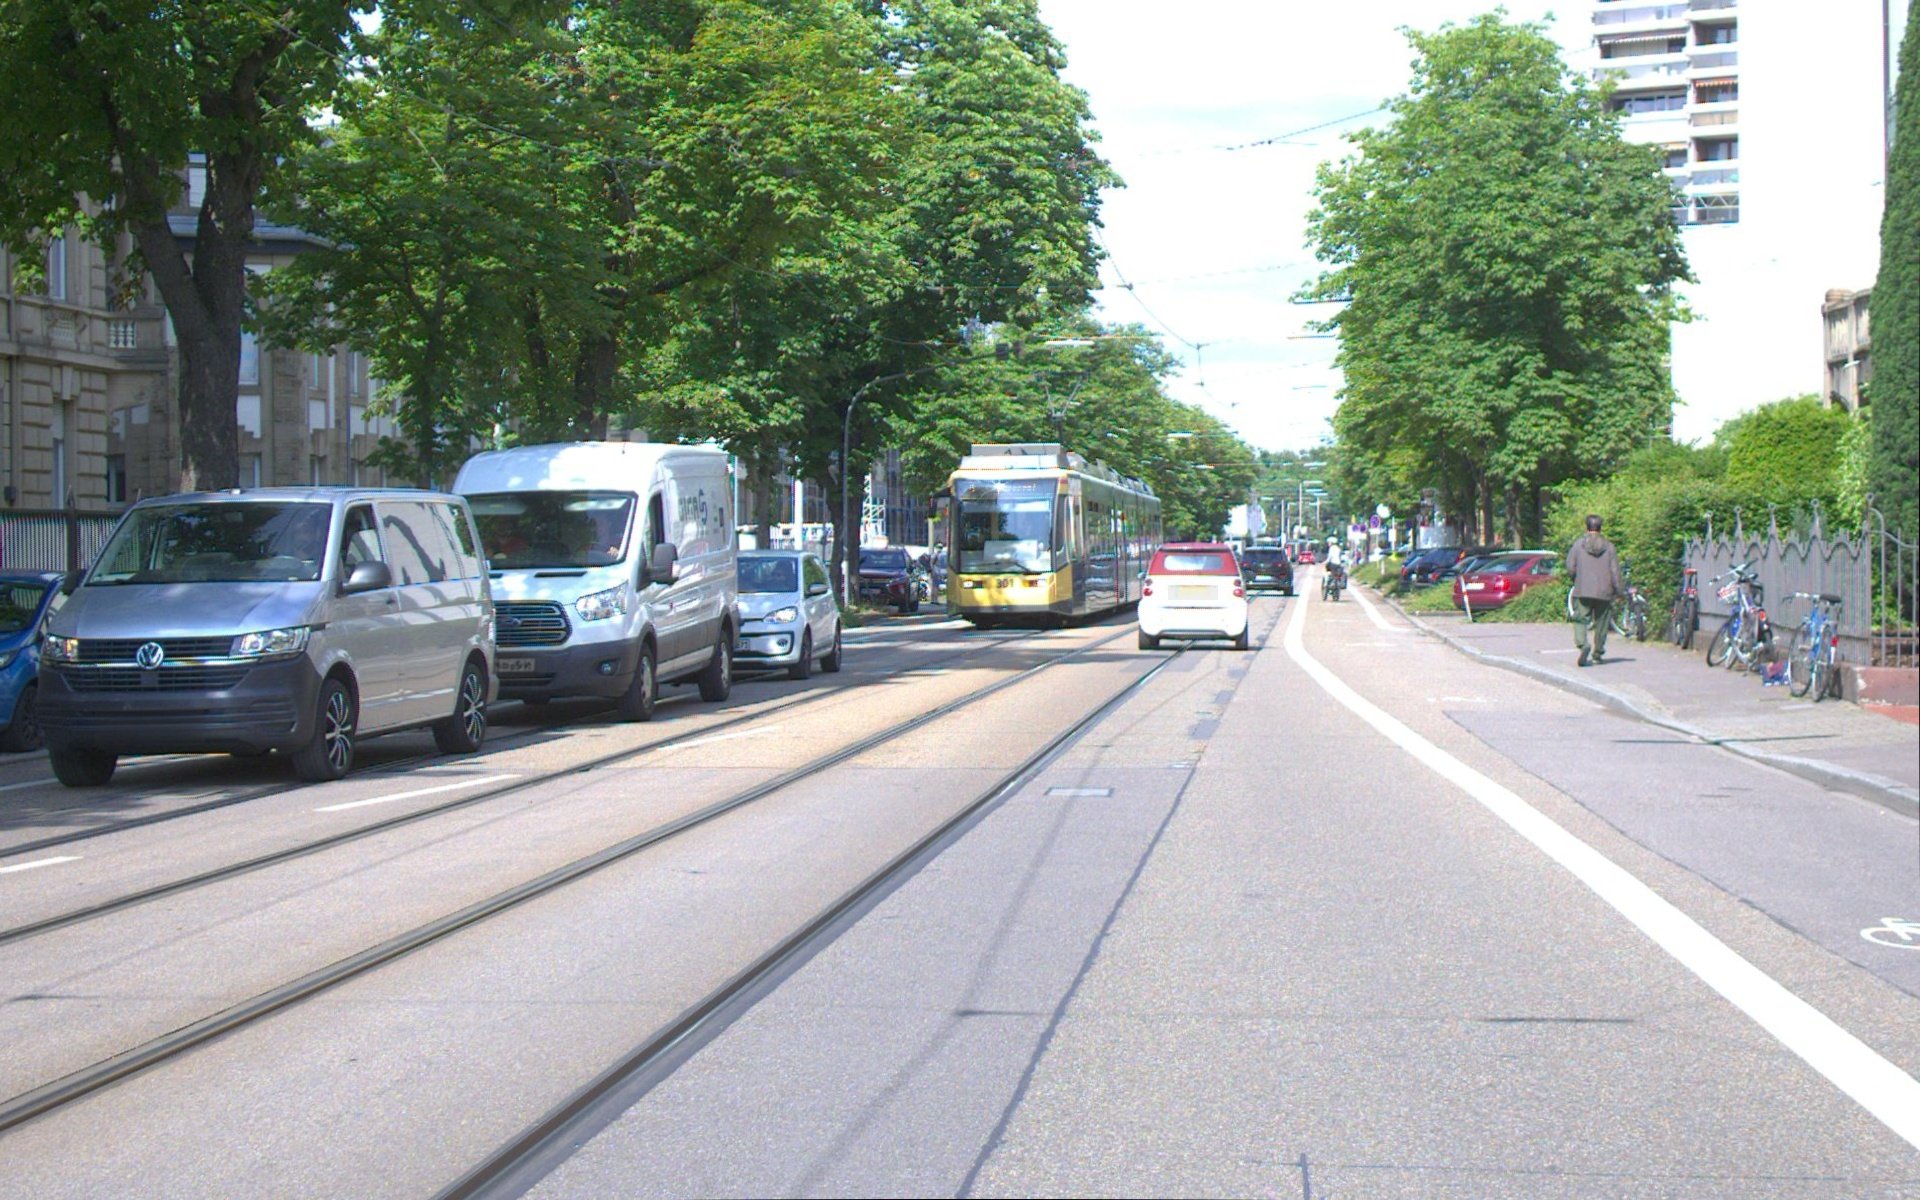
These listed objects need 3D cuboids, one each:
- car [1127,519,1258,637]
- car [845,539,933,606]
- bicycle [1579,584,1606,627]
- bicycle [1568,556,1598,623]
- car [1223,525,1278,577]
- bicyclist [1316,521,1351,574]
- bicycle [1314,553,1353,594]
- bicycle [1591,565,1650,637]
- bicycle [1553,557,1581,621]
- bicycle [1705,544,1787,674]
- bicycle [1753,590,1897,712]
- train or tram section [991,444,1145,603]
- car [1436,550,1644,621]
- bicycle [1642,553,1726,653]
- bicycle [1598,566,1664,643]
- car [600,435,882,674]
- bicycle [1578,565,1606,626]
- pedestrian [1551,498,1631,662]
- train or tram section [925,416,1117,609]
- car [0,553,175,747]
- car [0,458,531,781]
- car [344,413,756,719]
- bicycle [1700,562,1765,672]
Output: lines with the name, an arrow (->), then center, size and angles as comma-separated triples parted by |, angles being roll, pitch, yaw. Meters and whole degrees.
car -> 3.430, -0.320, 50.288 | 1.666, 1.619, 3.619 | 2, 1, 7
car -> -1.826, -0.717, 89.617 | 1.750, 1.660, 4.720 | 2, 1, 5
bicycle -> 10.309, 0.079, 56.052 | 0.279, 0.675, 1.559 | -3, 0, 6
bicycle -> 10.498, -0.177, 57.951 | 0.279, 1.105, 2.010 | -3, 0, 6
car -> 9.262, -1.567, 109.347 | 1.666, 1.619, 3.620 | 0, 1, 6
bicyclist -> 10.715, -1.503, 98.550 | 0.890, 1.523, 1.084 | 0, 1, 12
bicycle -> 10.710, -0.761, 98.483 | 0.875, 1.122, 2.135 | 2, 1, 12
bicycle -> 9.442, 0.010, 49.191 | 0.612, 0.985, 1.872 | -2, 0, 5
bicycle -> 10.848, -0.201, 61.452 | 0.279, 1.105, 2.010 | -3, 0, 6
bicycle -> 7.909, 0.074, 34.647 | 0.451, 1.256, 1.844 | -2, 1, 3
bicycle -> 7.690, 0.427, 30.692 | 0.599, 0.958, 3.066 | -4, 1, 3
train or tram section -> 2.651, -1.709, 80.637 | 2.653, 3.377, 11.470 | -2, 0, 6
car -> 12.015, -0.316, 71.138 | 4.147, 1.418, 1.866 | -1, 1, -36
bicycle -> 9.108, 0.025, 43.324 | 0.740, 1.227, 2.516 | 0, 0, 5
bicycle -> 9.123, 0.051, 46.812 | 0.611, 0.992, 2.362 | -3, 0, 5
car -> -2.371, -0.528, 39.241 | 2.316, 2.499, 6.362 | 0, 1, 5
bicycle -> 10.187, -0.074, 55.426 | 0.274, 0.904, 1.668 | -3, 2, 6
pedestrian -> 7.159, -0.227, 39.044 | 0.787, 1.855, 0.580 | 0, 0, -1
train or tram section -> 1.389, -1.632, 68.853 | 2.653, 3.425, 12.312 | -2, 0, 6
car -> -8.153, 0.370, 29.433 | 1.549, 1.514, 4.084 | 2, 1, 5
car -> -4.712, 0.091, 23.772 | 1.987, 1.956, 5.177 | -1, 1, 10
car -> -3.562, -0.363, 31.398 | 2.316, 2.499, 6.362 | 0, 2, 6
bicycle -> 8.281, 0.167, 36.885 | 0.451, 1.119, 1.843 | -2, 1, 7
